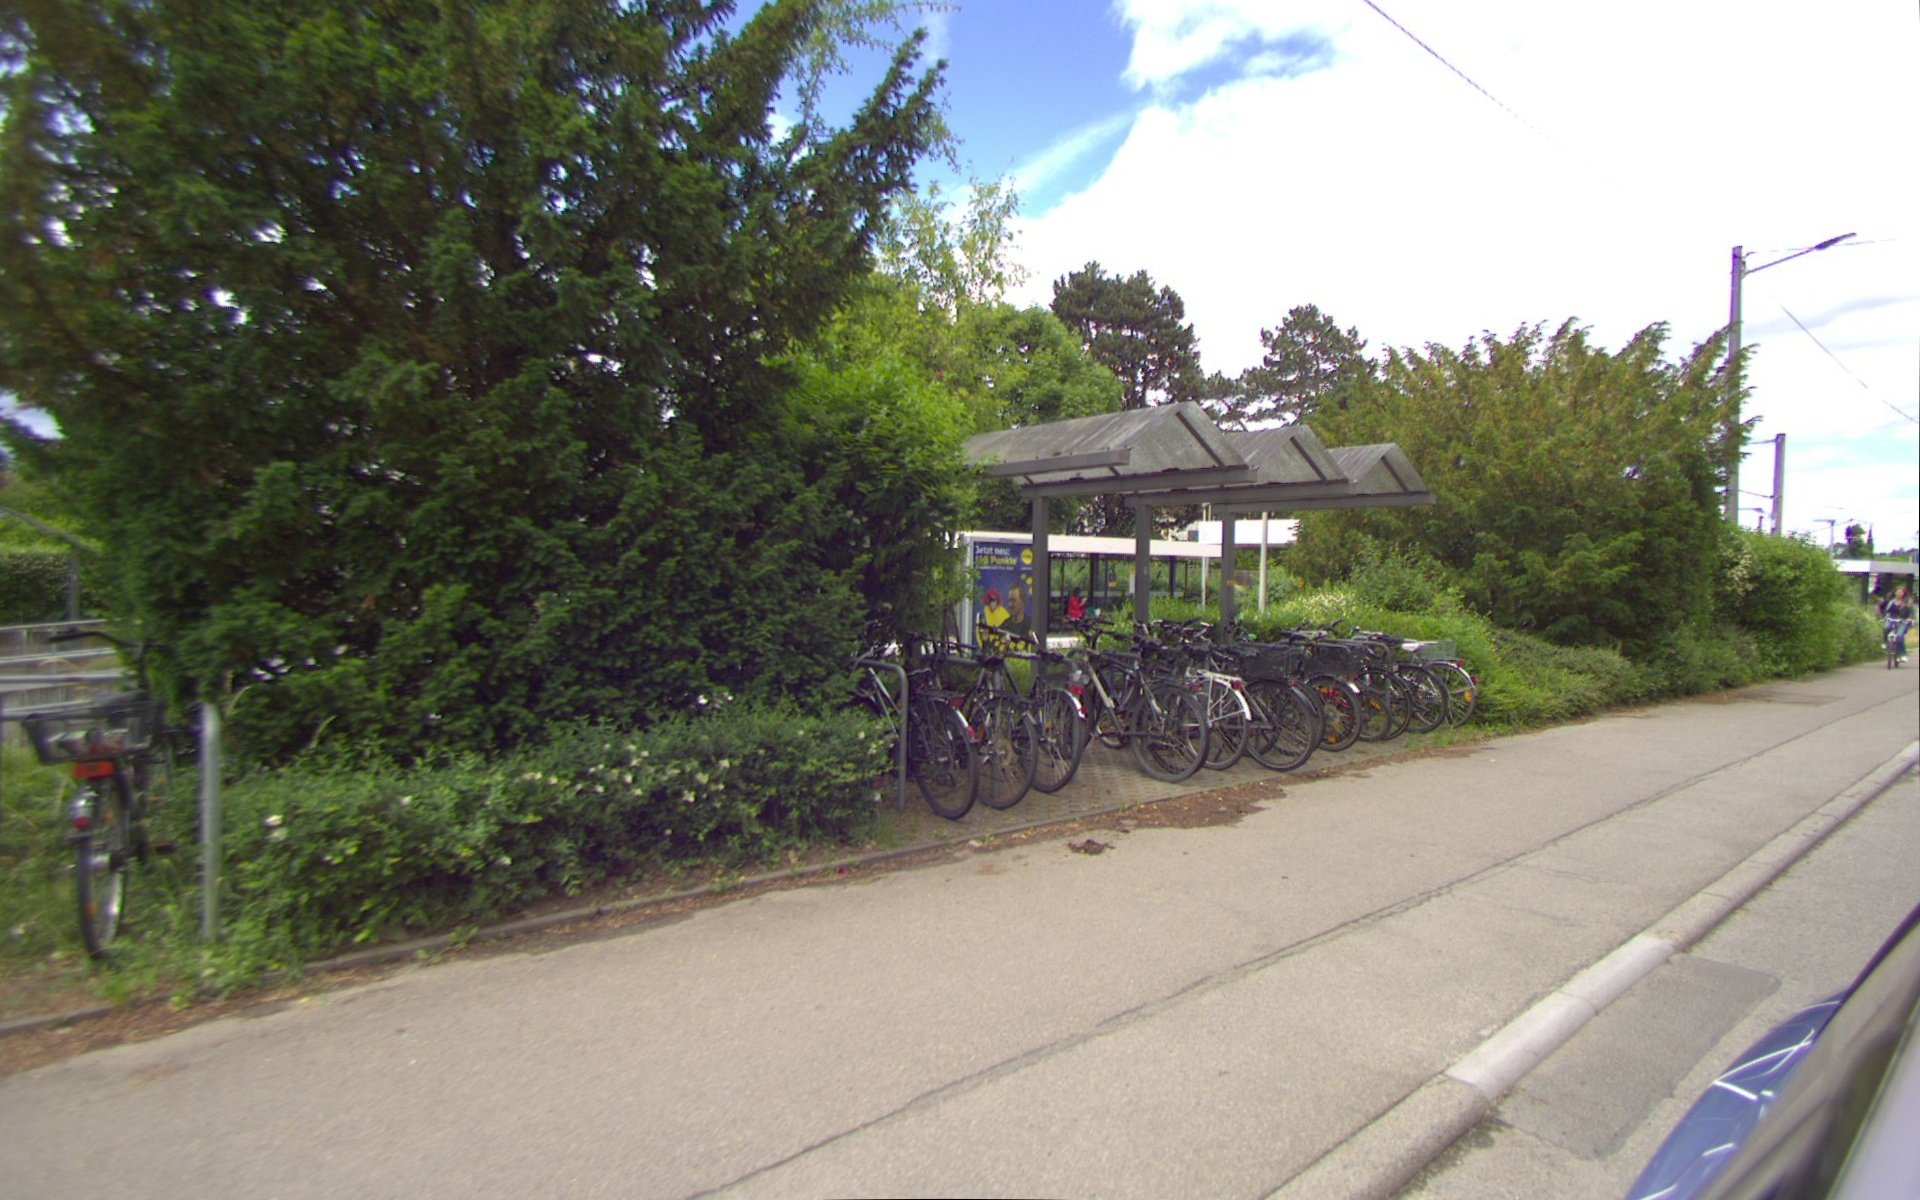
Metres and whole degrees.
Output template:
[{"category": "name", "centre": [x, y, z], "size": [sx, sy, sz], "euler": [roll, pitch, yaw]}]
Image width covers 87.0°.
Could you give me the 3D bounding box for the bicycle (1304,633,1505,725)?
[{"category": "bicycle", "centre": [4.771, 0.813, 11.026], "size": [0.443, 0.837, 2.083], "euler": [0, 0, -35]}]

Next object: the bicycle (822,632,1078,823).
[{"category": "bicycle", "centre": [-0.143, 0.783, 6.900], "size": [0.443, 1.060, 2.090], "euler": [0, 0, -44]}]

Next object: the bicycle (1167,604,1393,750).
[{"category": "bicycle", "centre": [2.946, 0.658, 9.584], "size": [0.443, 1.163, 2.208], "euler": [0, 2, -36]}]

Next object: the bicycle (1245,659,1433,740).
[{"category": "bicycle", "centre": [3.603, 0.927, 9.715], "size": [1.673, 0.647, 0.328], "euler": [0, 0, 38]}]

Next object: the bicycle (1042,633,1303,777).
[{"category": "bicycle", "centre": [1.636, 0.785, 8.189], "size": [0.444, 0.950, 2.202], "euler": [0, 0, -44]}]

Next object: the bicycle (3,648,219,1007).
[{"category": "bicycle", "centre": [-3.469, 0.766, 4.197], "size": [0.549, 1.061, 2.093], "euler": [0, -1, -39]}]

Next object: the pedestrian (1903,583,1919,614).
[{"category": "pedestrian", "centre": [39.524, -0.059, 41.932], "size": [0.571, 1.295, 0.588], "euler": [0, 0, -38]}]

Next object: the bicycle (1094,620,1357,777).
[{"category": "bicycle", "centre": [2.112, 0.742, 8.378], "size": [0.444, 1.060, 2.203], "euler": [0, 2, -43]}]

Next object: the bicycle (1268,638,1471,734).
[{"category": "bicycle", "centre": [4.226, 0.859, 10.604], "size": [0.443, 0.837, 1.992], "euler": [0, 0, -41]}]

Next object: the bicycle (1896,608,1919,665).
[{"category": "bicycle", "centre": [20.897, 0.775, 22.133], "size": [2.170, 1.163, 0.450], "euler": [-1, 2, -43]}]

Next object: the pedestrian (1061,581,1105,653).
[{"category": "pedestrian", "centre": [3.559, 0.463, 29.319], "size": [0.898, 2.039, 0.920], "euler": [0, 0, -31]}]

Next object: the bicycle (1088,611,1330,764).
[{"category": "bicycle", "centre": [2.181, 0.722, 9.197], "size": [0.444, 1.060, 2.204], "euler": [0, 4, -43]}]

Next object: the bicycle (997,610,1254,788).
[{"category": "bicycle", "centre": [1.220, 0.691, 7.905], "size": [0.522, 1.165, 2.090], "euler": [0, 1, -44]}]

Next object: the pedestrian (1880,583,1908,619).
[{"category": "pedestrian", "centre": [37.841, 0.018, 40.999], "size": [0.631, 1.438, 0.720], "euler": [0, 0, -37]}]

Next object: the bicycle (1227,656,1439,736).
[{"category": "bicycle", "centre": [3.658, 0.923, 10.054], "size": [1.977, 0.647, 0.328], "euler": [0, 0, 38]}]

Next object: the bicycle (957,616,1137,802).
[{"category": "bicycle", "centre": [0.563, 0.708, 7.483], "size": [0.441, 1.060, 2.100], "euler": [0, 2, -21]}]

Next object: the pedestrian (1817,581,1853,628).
[{"category": "pedestrian", "centre": [31.288, 0.152, 36.186], "size": [0.719, 1.638, 0.702], "euler": [0, 0, 16]}]

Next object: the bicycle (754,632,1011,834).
[{"category": "bicycle", "centre": [-0.579, 0.772, 6.570], "size": [0.443, 1.060, 2.090], "euler": [0, 0, -44]}]

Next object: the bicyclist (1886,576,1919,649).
[{"category": "bicyclist", "centre": [20.962, 0.271, 22.229], "size": [0.847, 1.557, 0.825], "euler": [0, 1, -43]}]

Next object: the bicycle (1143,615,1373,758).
[{"category": "bicycle", "centre": [2.648, 0.720, 9.288], "size": [0.443, 1.060, 2.208], "euler": [0, 2, -36]}]
